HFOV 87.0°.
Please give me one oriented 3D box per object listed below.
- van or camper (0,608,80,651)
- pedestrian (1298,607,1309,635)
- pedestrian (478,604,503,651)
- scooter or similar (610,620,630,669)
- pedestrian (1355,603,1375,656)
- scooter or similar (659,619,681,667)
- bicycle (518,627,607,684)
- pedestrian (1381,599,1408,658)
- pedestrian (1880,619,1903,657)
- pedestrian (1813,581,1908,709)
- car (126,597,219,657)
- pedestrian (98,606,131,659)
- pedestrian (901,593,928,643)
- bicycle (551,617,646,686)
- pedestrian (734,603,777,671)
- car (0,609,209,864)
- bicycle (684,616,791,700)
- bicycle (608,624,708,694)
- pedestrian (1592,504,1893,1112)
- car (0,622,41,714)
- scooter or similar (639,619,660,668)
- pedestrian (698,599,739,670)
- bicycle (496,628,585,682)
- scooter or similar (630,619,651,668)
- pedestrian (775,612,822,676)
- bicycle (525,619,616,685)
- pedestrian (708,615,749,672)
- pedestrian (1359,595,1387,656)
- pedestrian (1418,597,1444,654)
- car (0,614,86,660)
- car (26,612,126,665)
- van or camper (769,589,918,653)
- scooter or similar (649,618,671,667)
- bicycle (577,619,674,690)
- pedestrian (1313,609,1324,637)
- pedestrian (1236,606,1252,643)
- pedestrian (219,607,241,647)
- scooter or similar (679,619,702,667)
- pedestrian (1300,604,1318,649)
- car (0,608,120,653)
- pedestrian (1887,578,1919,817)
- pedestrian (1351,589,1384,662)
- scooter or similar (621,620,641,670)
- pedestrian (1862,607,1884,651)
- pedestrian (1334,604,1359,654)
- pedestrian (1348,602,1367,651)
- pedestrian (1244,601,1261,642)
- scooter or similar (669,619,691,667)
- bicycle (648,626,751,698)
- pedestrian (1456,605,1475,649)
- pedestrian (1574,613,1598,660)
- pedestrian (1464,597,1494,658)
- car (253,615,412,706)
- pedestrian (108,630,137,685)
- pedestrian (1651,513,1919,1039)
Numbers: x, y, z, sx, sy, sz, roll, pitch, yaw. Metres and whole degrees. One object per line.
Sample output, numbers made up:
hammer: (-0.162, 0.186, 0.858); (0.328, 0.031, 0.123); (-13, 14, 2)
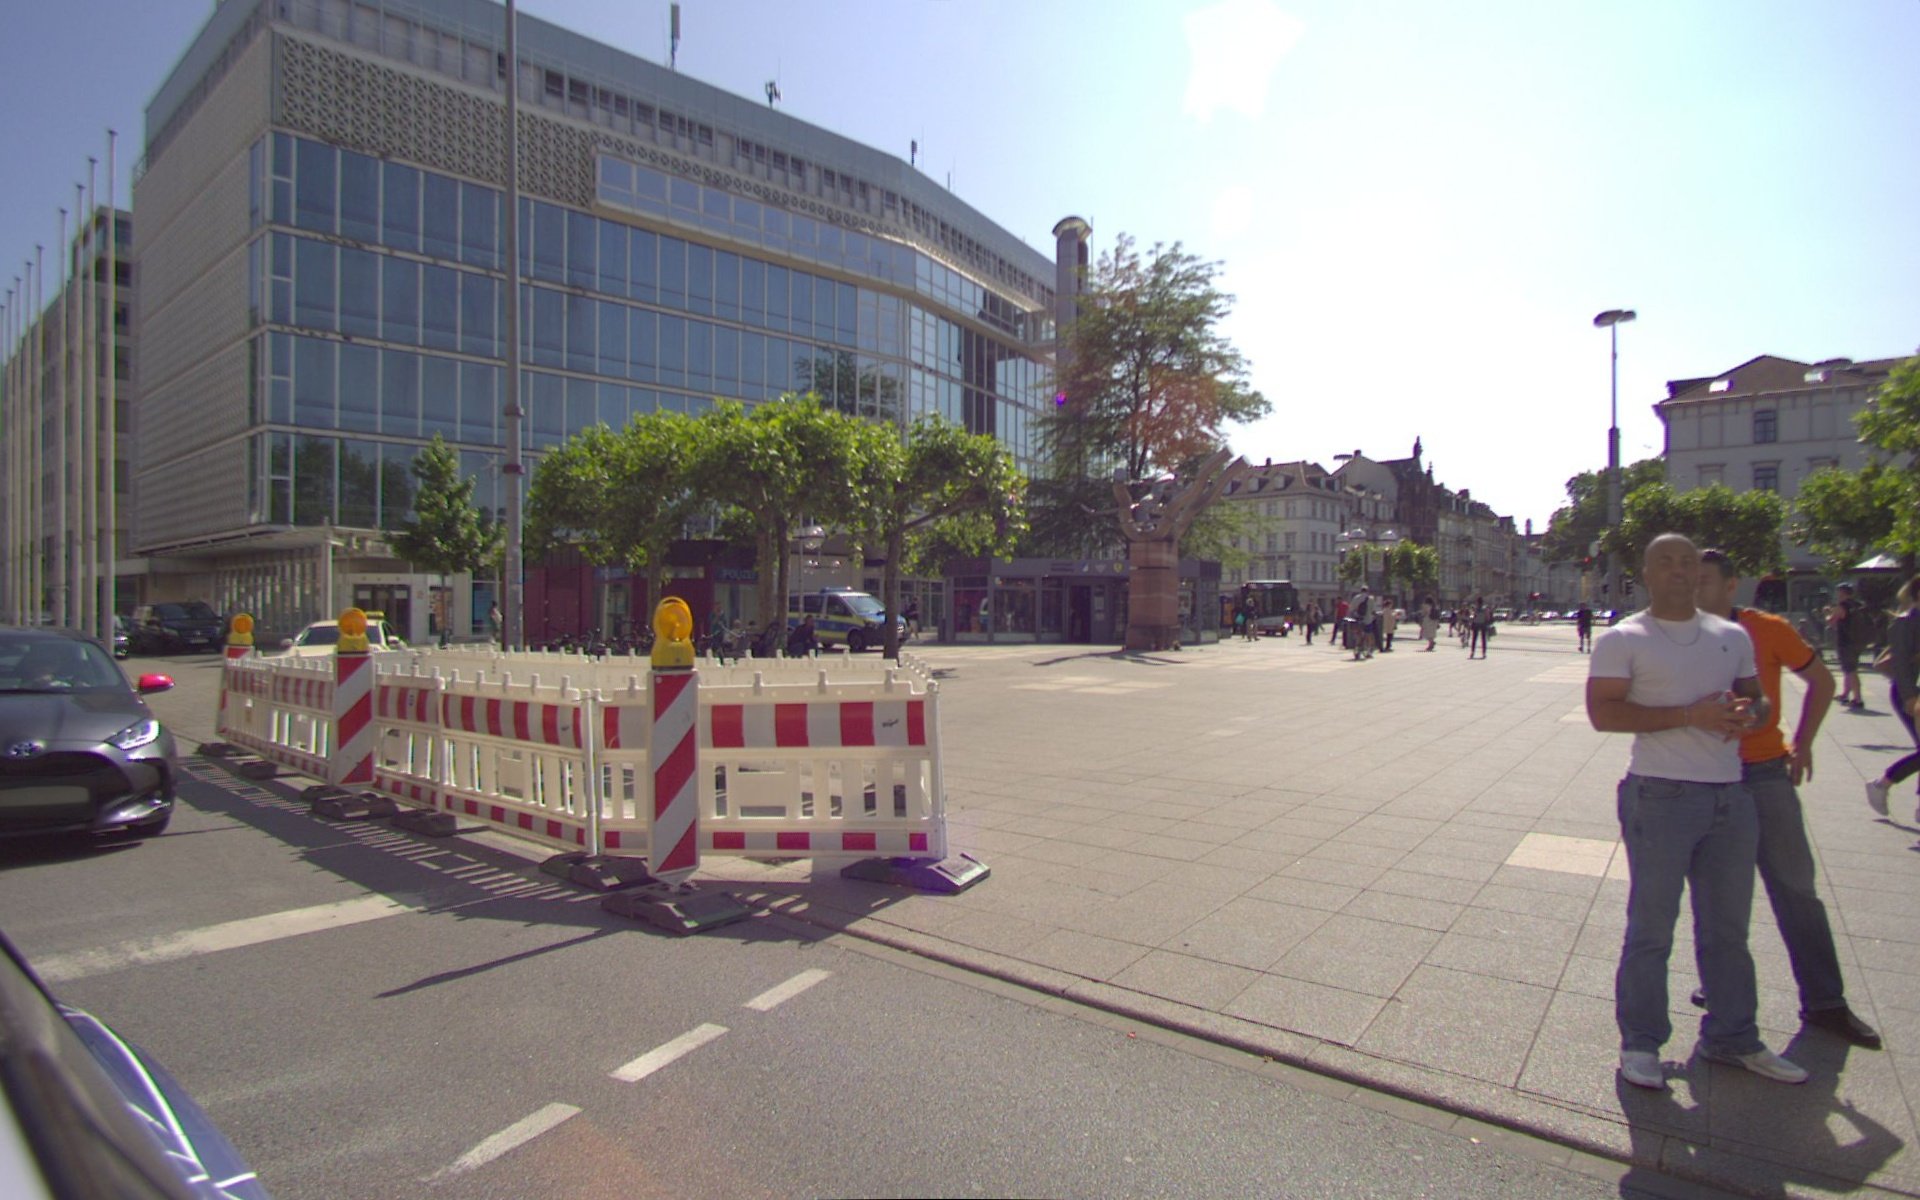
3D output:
van or camper: (-47.258, 1.474, 50.585); (4.585, 2.029, 2.004); (-2, 0, -10)
pedestrian: (20.890, 1.279, 61.559); (0.602, 1.651, 0.570); (-1, 0, 22)
pedestrian: (-17.769, 1.041, 38.287); (0.674, 1.728, 0.723); (2, -2, -40)
scooter or similar: (-8.693, 1.118, 25.895); (0.230, 1.223, 1.307); (0, 0, -30)
pedestrian: (13.661, 0.973, 34.149); (0.502, 1.762, 0.539); (0, 0, 36)
scooter or similar: (-7.538, 1.105, 26.312); (0.230, 1.223, 1.307); (0, 0, -30)
bicycle: (-8.618, 1.184, 21.990); (0.562, 1.141, 1.765); (-1, -1, 38)
pedestrian: (13.330, 0.872, 31.020); (0.605, 1.762, 0.794); (0, 0, 36)
pedestrian: (35.961, 1.465, 39.070); (0.442, 1.476, 0.445); (0, -1, -14)
pedestrian: (12.811, 0.617, 14.409); (0.596, 1.762, 0.806); (-1, 0, -18)
car: (-28.663, 0.961, 36.777); (4.683, 2.029, 1.813); (-1, -1, 41)
pedestrian: (-28.902, 1.105, 34.600); (0.610, 1.806, 0.694); (0, -1, -10)
pedestrian: (-1.660, 0.641, 36.766); (0.605, 1.762, 0.794); (0, 0, 36)
bicycle: (-7.346, 1.021, 20.621); (0.662, 1.319, 1.765); (-1, -1, 38)
pedestrian: (-4.943, 0.887, 24.503); (0.670, 1.618, 0.798); (-1, -1, 28)
car: (-7.116, 0.871, 7.383); (4.106, 1.489, 1.843); (-3, -5, 43)
bicycle: (-3.919, 0.996, 17.953); (0.740, 1.358, 1.765); (-1, 0, 38)
bicycle: (-5.656, 1.085, 19.026); (0.662, 1.224, 1.765); (-1, -1, 38)
pedestrian: (2.422, 0.601, 3.181); (0.599, 1.753, 0.429); (-1, 0, 10)
car: (-16.600, 1.076, 16.762); (4.106, 1.407, 1.710); (-1, -2, 43)
scooter or similar: (-8.022, 1.120, 26.163); (0.230, 1.223, 1.307); (0, 0, -30)
pedestrian: (-5.855, 0.818, 24.526); (0.685, 1.690, 0.666); (-1, -1, 33)
bicycle: (-9.235, 1.192, 22.326); (0.562, 1.114, 1.765); (-1, -1, 38)
scooter or similar: (-8.229, 1.114, 26.042); (0.230, 1.223, 1.307); (0, 0, -30)
pedestrian: (-3.605, 0.959, 22.588); (0.662, 1.392, 0.898); (0, -1, -40)
bicycle: (-8.261, 1.085, 21.531); (0.562, 1.319, 1.765); (-1, -1, 38)
pedestrian: (-5.506, 1.020, 24.068); (0.683, 1.319, 0.668); (-1, -1, 23)
pedestrian: (12.241, 0.736, 29.978); (0.605, 1.762, 0.794); (0, 0, 36)
pedestrian: (14.956, 0.804, 32.129); (0.605, 1.762, 0.794); (0, 0, 36)
car: (-33.283, 1.327, 36.694); (4.736, 1.534, 1.780); (-2, -1, 41)
car: (-28.845, 1.220, 32.970); (4.706, 1.612, 1.743); (-1, -1, 40)
van or camper: (-3.855, 0.641, 32.853); (5.020, 1.933, 1.854); (0, -1, 39)
scooter or similar: (-7.780, 1.082, 26.224); (0.230, 1.223, 1.307); (0, 0, -30)
bicycle: (-6.599, 1.044, 20.059); (0.662, 1.319, 1.765); (-1, -1, 38)
pedestrian: (21.288, 1.367, 60.065); (0.602, 1.651, 0.570); (-1, 0, 22)
pedestrian: (12.851, 1.106, 45.784); (0.602, 1.651, 0.570); (-1, 0, 22)
pedestrian: (-29.905, 1.089, 41.465); (0.543, 1.629, 0.574); (-1, -2, 39)
scooter or similar: (-7.060, 1.109, 26.462); (0.260, 1.223, 1.307); (0, 0, -30)
pedestrian: (13.066, 0.984, 37.927); (0.602, 1.651, 0.570); (-1, 0, 22)
car: (-40.898, 1.370, 45.484); (4.372, 1.924, 2.014); (-1, -1, -13)
pedestrian: (6.517, 0.626, 6.631); (0.569, 1.544, 0.607); (-1, 0, -43)
pedestrian: (10.370, 0.624, 25.746); (0.605, 1.812, 0.794); (0, 0, 36)
scooter or similar: (-8.446, 1.138, 25.955); (0.230, 1.223, 1.307); (0, 0, -30)
pedestrian: (35.797, 1.129, 39.662); (0.442, 1.686, 0.445); (0, -1, -14)
pedestrian: (12.806, 0.950, 33.538); (0.605, 1.633, 0.794); (0, 0, 36)
pedestrian: (14.618, 0.967, 37.189); (0.602, 1.762, 0.797); (-1, 0, 24)
pedestrian: (12.013, 0.887, 41.499); (0.602, 1.651, 0.570); (-1, 0, 22)
scooter or similar: (-7.288, 1.109, 26.352); (0.230, 1.223, 1.307); (0, 0, -30)
bicycle: (-4.658, 1.089, 18.201); (0.662, 1.194, 1.765); (-1, -1, 38)
pedestrian: (19.347, 1.031, 38.739); (0.602, 1.651, 0.570); (-1, 0, 22)
pedestrian: (22.210, 1.278, 35.908); (0.566, 1.651, 0.606); (-1, 0, -44)
pedestrian: (13.764, 0.723, 26.839); (0.605, 1.572, 0.794); (0, 0, 36)
car: (-12.386, 1.103, 20.303); (1.864, 1.553, 4.877); (-1, -1, -22)
pedestrian: (-28.107, 1.912, 33.968); (0.524, 1.806, 0.540); (0, -1, -10)
pedestrian: (2.962, 0.581, 3.636); (0.599, 1.731, 0.539); (-1, 0, 10)
